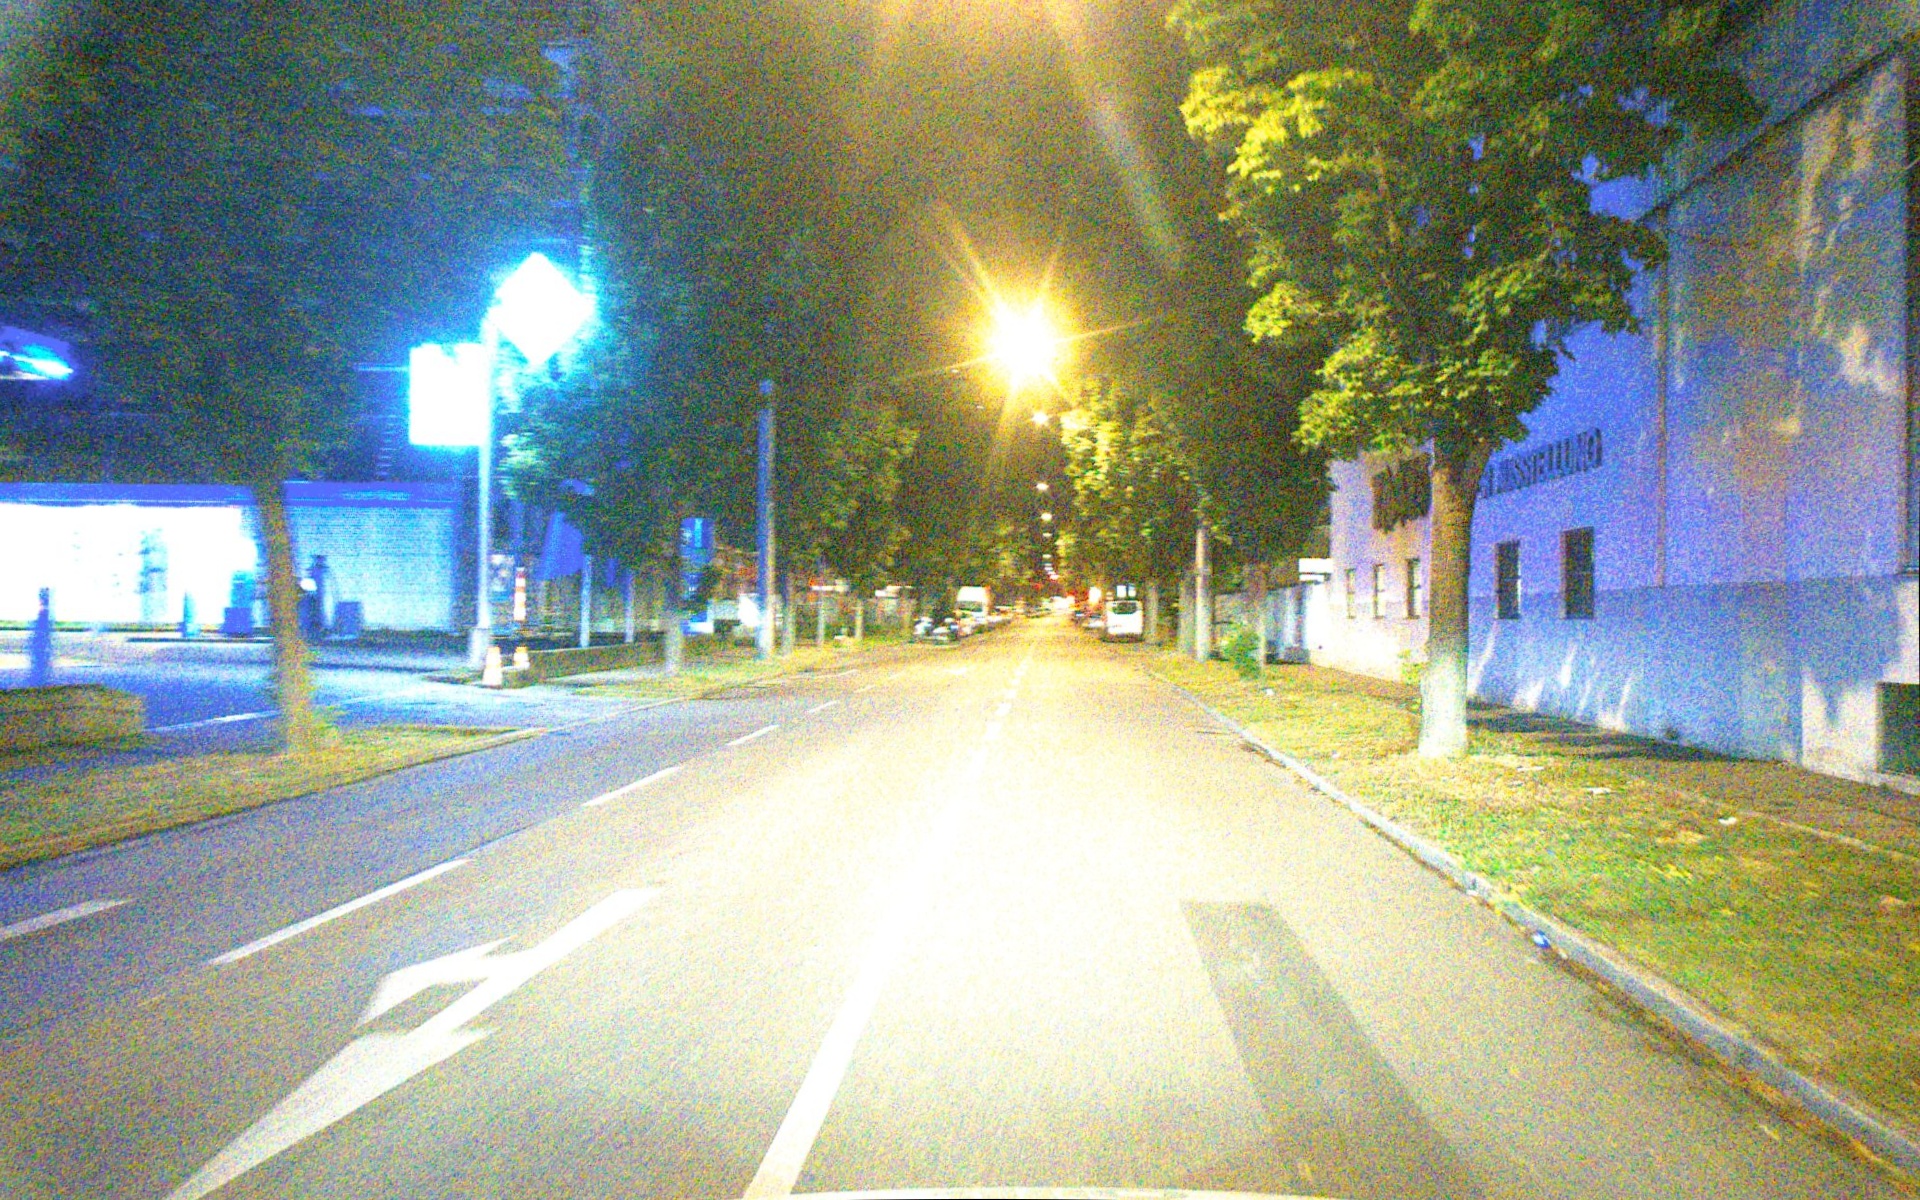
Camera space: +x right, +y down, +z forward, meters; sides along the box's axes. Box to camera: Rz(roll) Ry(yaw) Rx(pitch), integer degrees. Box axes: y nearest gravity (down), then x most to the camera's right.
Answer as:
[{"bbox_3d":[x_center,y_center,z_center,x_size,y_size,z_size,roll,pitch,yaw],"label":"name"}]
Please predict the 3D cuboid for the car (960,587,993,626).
[{"bbox_3d":[1.109,0.442,108.723,1.952,2.457,4.485,0,-1,2],"label":"car"}]

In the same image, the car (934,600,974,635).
[{"bbox_3d":[-0.300,1.002,92.287,1.952,1.875,4.002,-1,-1,4],"label":"car"}]

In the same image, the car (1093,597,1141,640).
[{"bbox_3d":[7.762,0.917,82.037,1.953,2.049,3.999,0,-1,-1],"label":"car"}]

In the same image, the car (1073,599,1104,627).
[{"bbox_3d":[9.643,1.012,124.457,1.953,2.049,3.999,0,-1,-1],"label":"car"}]

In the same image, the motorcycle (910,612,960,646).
[{"bbox_3d":[-1.067,1.247,71.374,1.990,1.417,0.869,0,-1,-26],"label":"motorcycle"}]
